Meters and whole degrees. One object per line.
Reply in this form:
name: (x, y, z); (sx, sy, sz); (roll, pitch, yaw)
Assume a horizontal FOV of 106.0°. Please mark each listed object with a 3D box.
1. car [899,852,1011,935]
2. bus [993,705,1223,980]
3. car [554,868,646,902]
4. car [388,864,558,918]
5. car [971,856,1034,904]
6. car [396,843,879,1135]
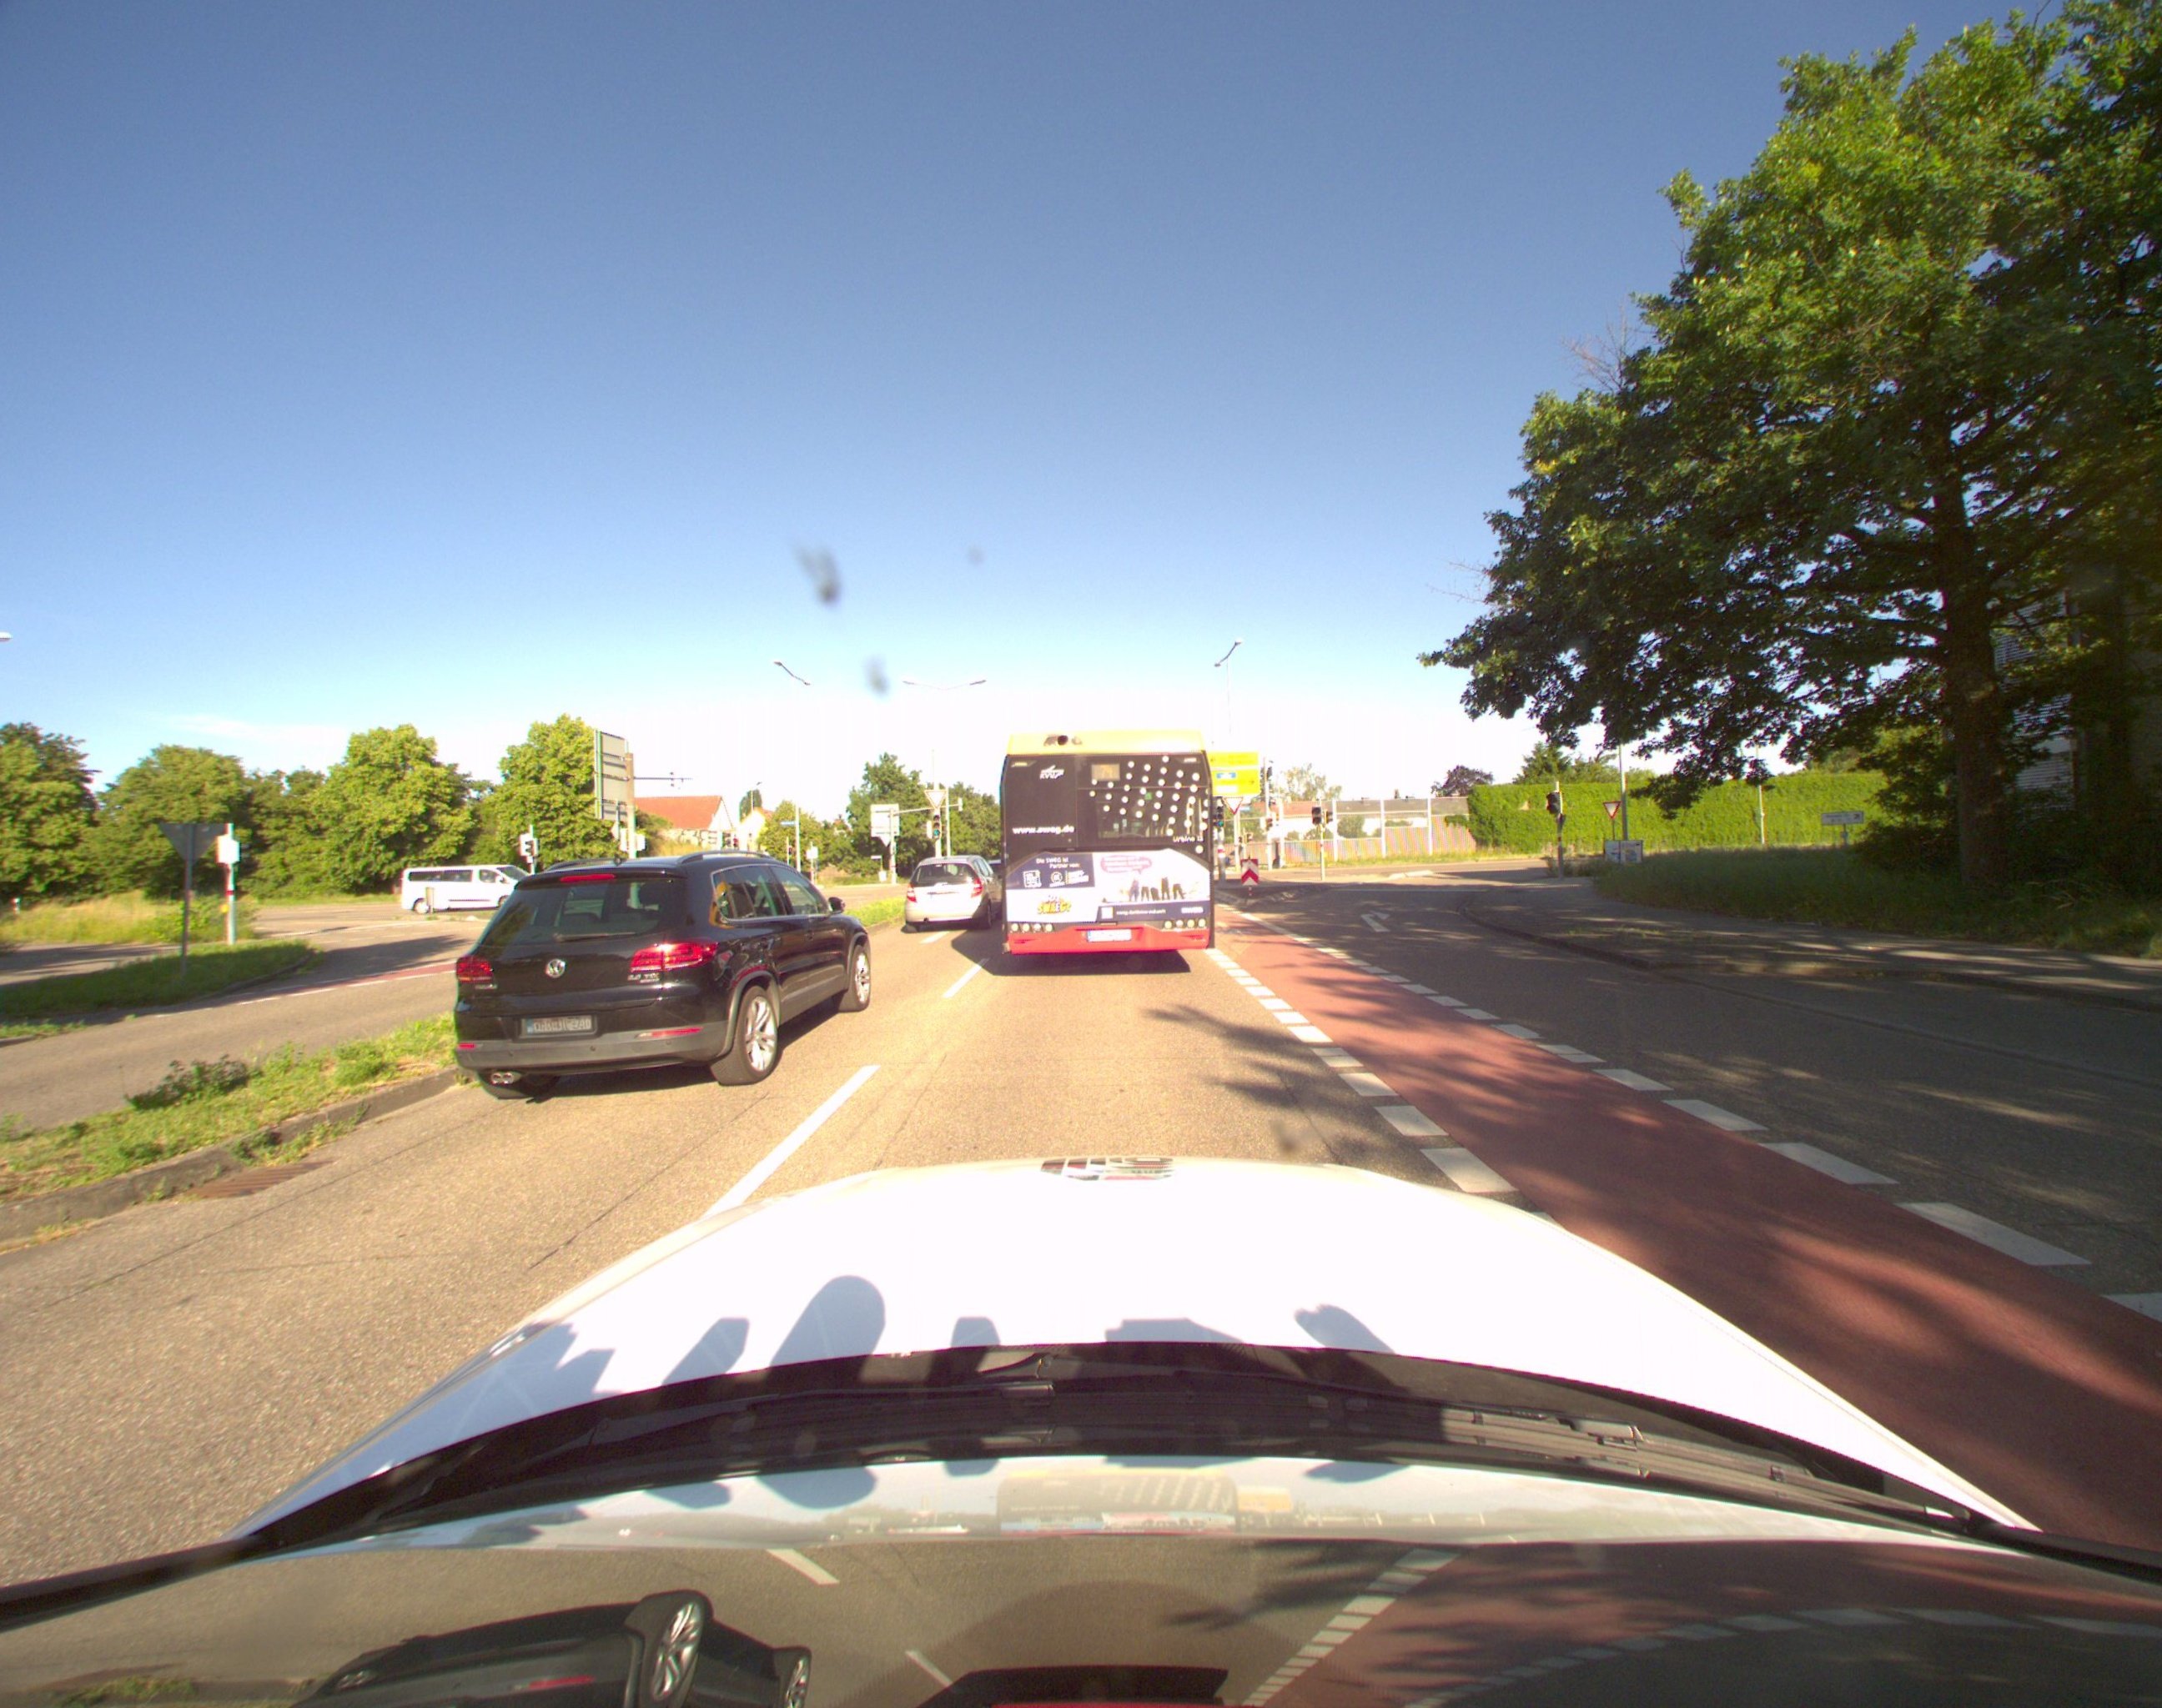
car: (-2.741, 0.801, 18.564); (1.755, 1.589, 4.001); (-3, 0, 1)
bus: (0.555, -0.159, 15.439); (2.632, 3.167, 11.867); (-1, 0, 2)
car: (-24.570, 1.551, 41.692); (3.577, 1.560, 1.747); (-2, 0, -5)
car: (-25.631, 1.527, 34.520); (5.374, 2.118, 2.178); (-1, -1, -4)
car: (-2.685, 0.864, 28.690); (1.686, 1.458, 3.751); (-3, 0, 1)
car: (-3.163, 0.814, 6.895); (1.766, 1.653, 4.000); (-3, 0, 1)
